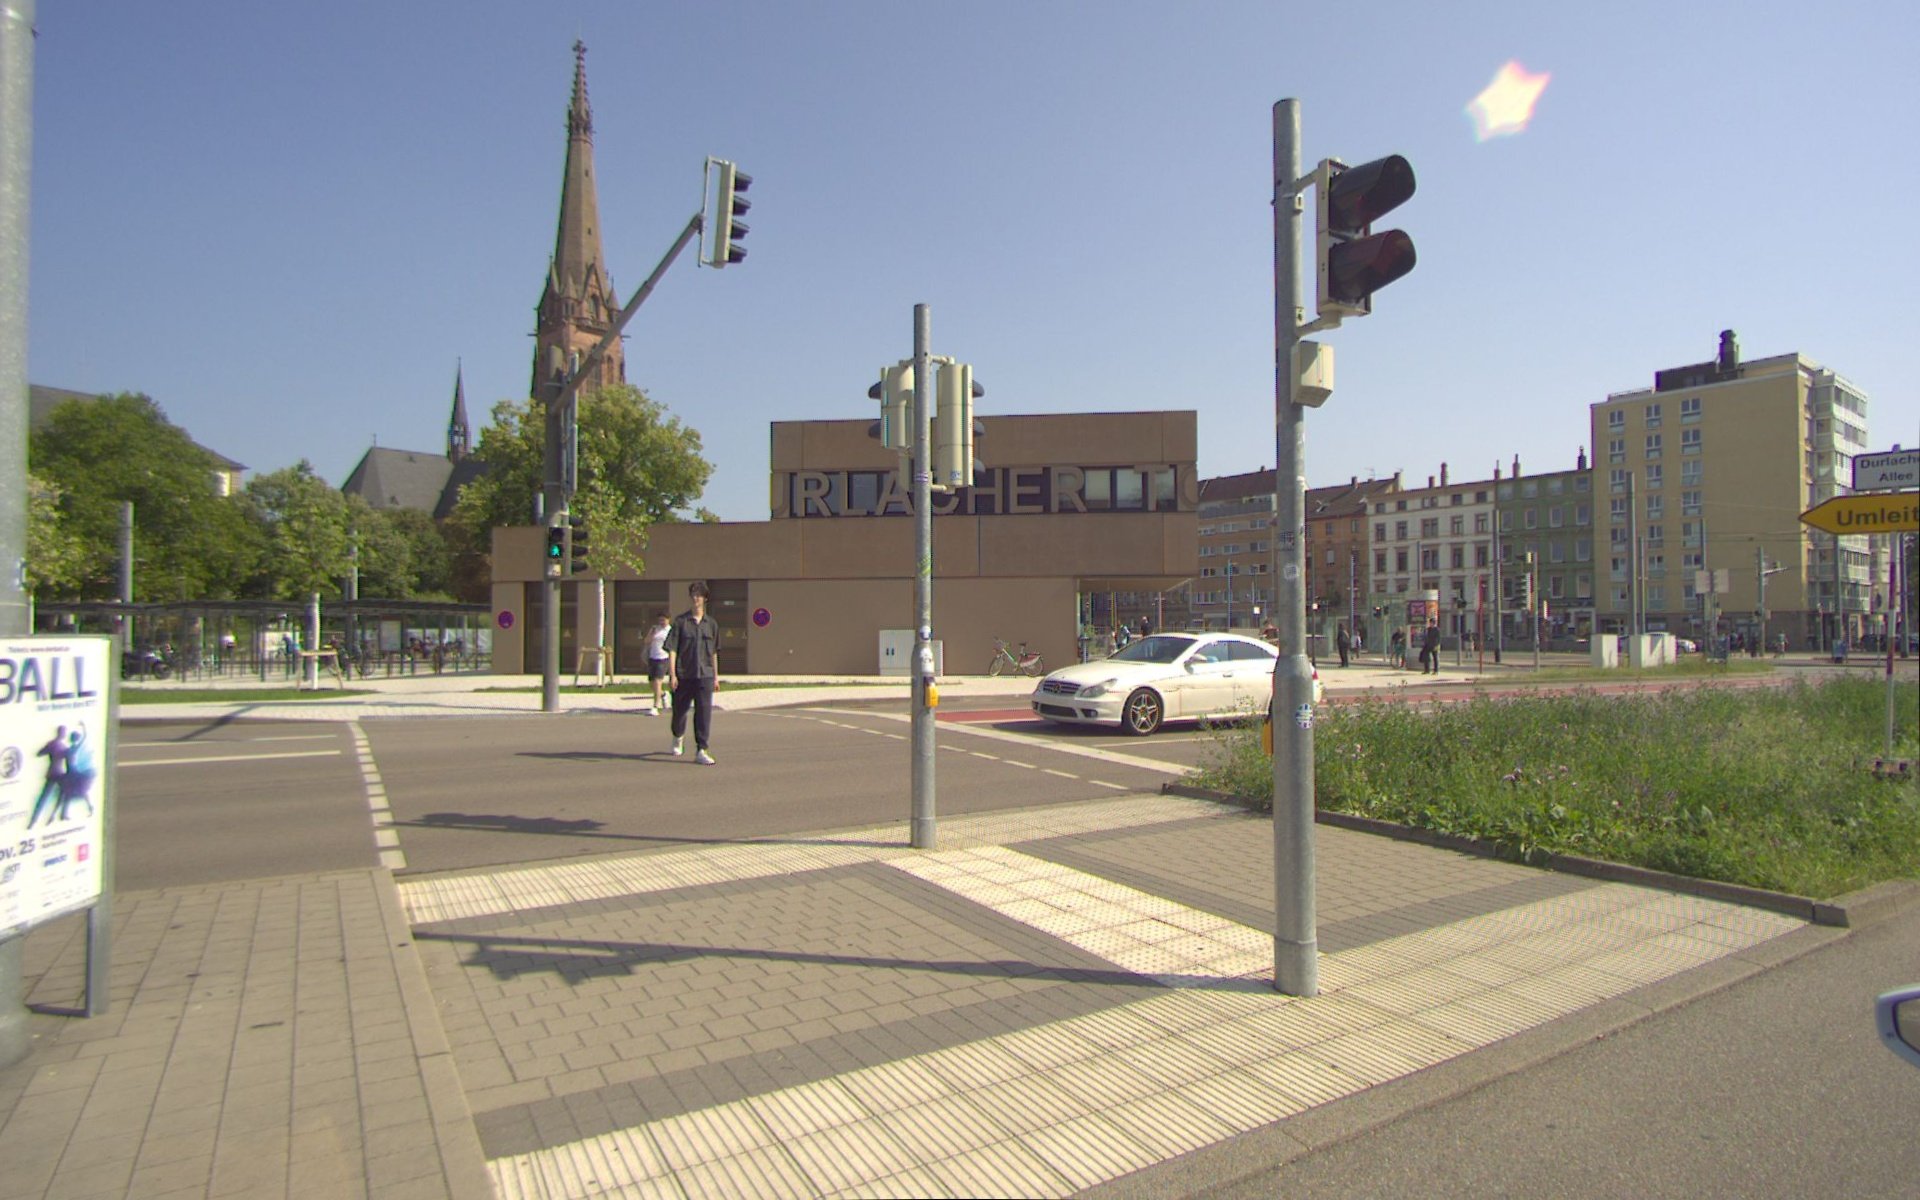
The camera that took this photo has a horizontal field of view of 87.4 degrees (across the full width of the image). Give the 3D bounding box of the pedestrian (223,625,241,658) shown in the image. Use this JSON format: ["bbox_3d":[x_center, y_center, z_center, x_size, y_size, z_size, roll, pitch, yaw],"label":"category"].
[{"bbox_3d":[-39.694,2.254,54.782,0.383,1.771,0.714,-2,-2,40],"label":"pedestrian"}]

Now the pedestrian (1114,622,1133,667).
[{"bbox_3d":[6.392,1.739,39.368,0.595,1.718,0.533,-2,0,-3],"label":"pedestrian"}]

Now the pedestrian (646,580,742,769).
[{"bbox_3d":[-2.812,0.745,10.566,0.721,1.864,1.075,1,-1,-28],"label":"pedestrian"}]

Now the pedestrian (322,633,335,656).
[{"bbox_3d":[-34.878,2.448,55.481,0.375,1.240,0.440,-2,0,9],"label":"pedestrian"}]

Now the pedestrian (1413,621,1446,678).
[{"bbox_3d":[15.391,1.604,32.958,0.831,1.802,0.877,-2,0,17],"label":"pedestrian"}]

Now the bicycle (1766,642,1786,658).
[{"bbox_3d":[51.637,3.131,63.568,1.718,0.997,0.721,2,-2,-41],"label":"bicycle"}]

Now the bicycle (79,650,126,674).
[{"bbox_3d":[-32.145,2.325,37.660,1.556,0.904,0.410,-1,-2,8],"label":"bicycle"}]

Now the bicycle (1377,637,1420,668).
[{"bbox_3d":[16.481,1.962,37.748,1.831,1.078,0.559,-2,1,-33],"label":"bicycle"}]

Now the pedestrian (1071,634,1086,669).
[{"bbox_3d":[4.154,1.802,35.167,0.513,1.187,0.596,0,-2,6],"label":"pedestrian"}]

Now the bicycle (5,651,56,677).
[{"bbox_3d":[-32.580,2.244,35.196,1.556,0.904,0.401,0,-2,8],"label":"bicycle"}]

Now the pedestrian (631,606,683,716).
[{"bbox_3d":[-5.258,1.042,17.430,0.684,1.857,0.568,-1,-2,37],"label":"pedestrian"}]

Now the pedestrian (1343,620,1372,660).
[{"bbox_3d":[20.825,2.072,52.616,1.012,2.040,0.951,-2,0,-36],"label":"pedestrian"}]

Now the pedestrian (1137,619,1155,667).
[{"bbox_3d":[7.124,1.642,38.436,0.547,1.843,0.392,0,-2,-11],"label":"pedestrian"}]

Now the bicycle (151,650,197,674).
[{"bbox_3d":[-30.049,2.385,38.402,1.556,0.904,0.410,-1,-2,8],"label":"bicycle"}]

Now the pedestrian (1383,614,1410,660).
[{"bbox_3d":[17.853,1.497,41.062,0.866,1.843,0.894,-2,0,29],"label":"pedestrian"}]

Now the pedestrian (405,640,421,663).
[{"bbox_3d":[-29.238,2.746,53.660,0.562,1.213,0.468,-1,-2,9],"label":"pedestrian"}]

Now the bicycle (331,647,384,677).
[{"bbox_3d":[-21.045,2.165,35.093,1.710,1.022,0.401,-1,-2,8],"label":"bicycle"}]

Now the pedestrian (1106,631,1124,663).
[{"bbox_3d":[8.025,2.419,51.915,0.783,1.612,0.691,0,-2,-7],"label":"pedestrian"}]

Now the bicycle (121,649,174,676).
[{"bbox_3d":[-30.222,2.313,37.374,1.679,0.999,0.534,-1,-2,8],"label":"bicycle"}]

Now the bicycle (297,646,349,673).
[{"bbox_3d":[-24.955,2.337,39.367,1.837,1.022,0.462,-1,-2,8],"label":"bicycle"}]

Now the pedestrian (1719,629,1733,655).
[{"bbox_3d":[49.887,2.730,65.411,0.540,1.707,0.453,-2,0,-25],"label":"pedestrian"}]

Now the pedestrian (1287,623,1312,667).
[{"bbox_3d":[14.702,1.958,43.515,0.763,1.843,0.882,-2,0,6],"label":"pedestrian"}]

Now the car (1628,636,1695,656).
[{"bbox_3d":[51.705,3.363,74.064,1.572,1.411,3.712,1,-2,-36],"label":"car"}]

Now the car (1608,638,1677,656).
[{"bbox_3d":[49.128,3.378,72.365,1.559,1.195,3.807,4,-4,-33],"label":"car"}]

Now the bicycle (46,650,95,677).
[{"bbox_3d":[-32.345,2.307,36.520,1.556,0.980,0.422,-1,-2,8],"label":"bicycle"}]

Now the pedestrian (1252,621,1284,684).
[{"bbox_3d":[8.935,1.513,29.101,0.667,1.783,0.876,-1,-2,32],"label":"pedestrian"}]

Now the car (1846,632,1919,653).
[{"bbox_3d":[73.658,3.377,80.232,1.851,1.578,3.960,-2,0,-36],"label":"car"}]

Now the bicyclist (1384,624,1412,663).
[{"bbox_3d":[16.455,1.620,37.727,0.874,1.380,0.559,-2,1,-33],"label":"bicyclist"}]

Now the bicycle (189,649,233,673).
[{"bbox_3d":[-29.599,2.414,39.696,1.556,0.904,0.410,-1,-2,8],"label":"bicycle"}]

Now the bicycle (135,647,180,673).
[{"bbox_3d":[-32.015,2.391,40.054,1.556,0.990,0.453,-1,0,8],"label":"bicycle"}]

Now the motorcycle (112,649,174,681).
[{"bbox_3d":[-27.152,2.157,33.387,1.710,1.022,0.543,-1,-2,8],"label":"motorcycle"}]

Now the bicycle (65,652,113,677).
[{"bbox_3d":[-32.215,2.378,37.155,1.556,0.904,0.401,-1,-2,8],"label":"bicycle"}]

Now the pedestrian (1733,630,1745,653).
[{"bbox_3d":[51.096,2.718,65.877,0.489,1.507,0.440,-2,0,15],"label":"pedestrian"}]

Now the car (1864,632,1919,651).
[{"bbox_3d":[79.225,3.522,84.866,1.852,1.578,3.958,1,-3,-37],"label":"car"}]

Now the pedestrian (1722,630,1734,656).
[{"bbox_3d":[50.484,2.822,66.010,0.447,1.707,0.440,-2,0,15],"label":"pedestrian"}]

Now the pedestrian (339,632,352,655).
[{"bbox_3d":[-34.358,2.435,56.185,0.375,1.240,0.440,-2,0,9],"label":"pedestrian"}]

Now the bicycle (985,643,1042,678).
[{"bbox_3d":[1.522,1.724,28.629,1.580,0.968,0.661,0,0,6],"label":"bicycle"}]

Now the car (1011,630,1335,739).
[{"bbox_3d":[3.257,1.192,15.008,4.764,1.379,1.832,2,-1,-31],"label":"car"}]

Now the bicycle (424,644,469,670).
[{"bbox_3d":[-20.607,2.280,40.314,1.710,1.022,0.401,-1,-2,8],"label":"bicycle"}]

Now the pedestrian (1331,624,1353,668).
[{"bbox_3d":[14.024,1.686,36.847,0.500,1.601,0.496,-2,0,-22],"label":"pedestrian"}]

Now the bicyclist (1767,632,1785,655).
[{"bbox_3d":[51.684,2.774,63.621,0.684,1.453,0.719,1,-2,-41],"label":"bicyclist"}]

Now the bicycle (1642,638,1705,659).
[{"bbox_3d":[57.084,3.899,80.420,1.185,1.572,3.957,-2,0,-38],"label":"bicycle"}]

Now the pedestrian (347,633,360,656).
[{"bbox_3d":[-33.920,2.492,56.151,0.375,1.240,0.440,-2,0,9],"label":"pedestrian"}]

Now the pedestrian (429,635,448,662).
[{"bbox_3d":[-27.686,2.562,53.355,0.631,1.413,0.662,0,-2,6],"label":"pedestrian"}]
